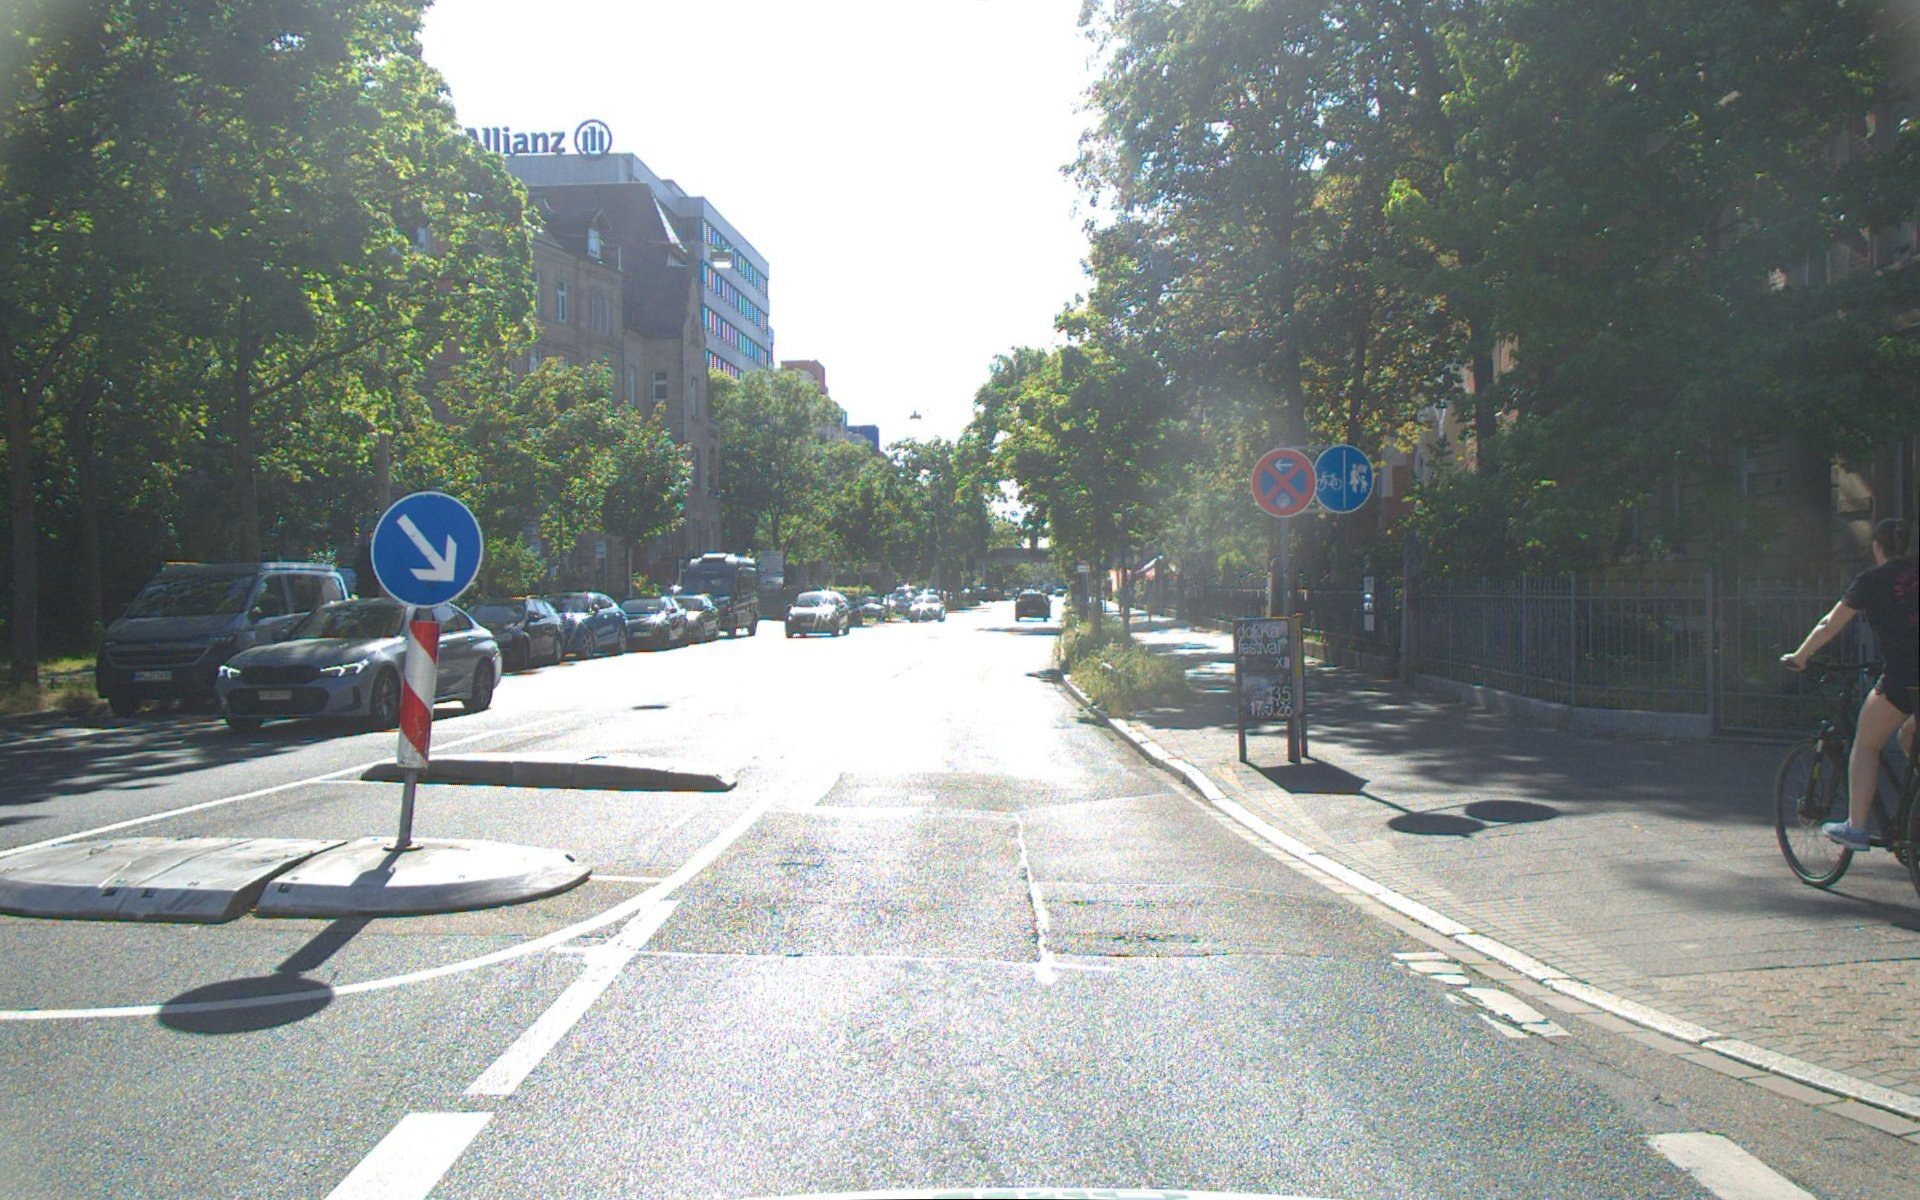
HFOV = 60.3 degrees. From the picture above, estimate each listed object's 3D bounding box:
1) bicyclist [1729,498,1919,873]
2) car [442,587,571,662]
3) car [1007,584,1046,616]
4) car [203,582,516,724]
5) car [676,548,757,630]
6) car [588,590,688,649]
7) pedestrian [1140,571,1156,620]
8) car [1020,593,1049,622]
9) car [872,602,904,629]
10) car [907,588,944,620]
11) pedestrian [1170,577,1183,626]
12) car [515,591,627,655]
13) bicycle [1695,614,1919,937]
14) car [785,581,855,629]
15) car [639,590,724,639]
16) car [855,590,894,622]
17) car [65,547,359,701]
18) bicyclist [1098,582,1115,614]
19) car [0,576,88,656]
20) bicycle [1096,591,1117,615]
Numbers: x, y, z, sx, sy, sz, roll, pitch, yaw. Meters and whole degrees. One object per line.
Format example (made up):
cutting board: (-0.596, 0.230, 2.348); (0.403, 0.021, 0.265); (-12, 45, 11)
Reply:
bicyclist: (4.191, 0.361, 7.655); (0.726, 1.607, 1.100); (1, 1, 0)
car: (-9.582, 0.553, 35.167); (1.491, 1.458, 3.338); (1, -3, 6)
car: (3.552, -0.019, 88.620); (1.856, 1.545, 4.000); (2, 1, 0)
car: (-6.999, 0.594, 19.821); (1.746, 1.486, 4.418); (1, -1, 6)
car: (-8.270, -0.380, 56.601); (1.788, 2.697, 5.163); (0, 0, 2)
car: (-8.797, 0.577, 45.510); (1.788, 1.445, 4.000); (1, -3, 2)
pedestrian: (7.872, -0.204, 69.303); (0.602, 2.049, 0.681); (0, 0, -1)
car: (4.731, 0.449, 104.411); (1.781, 1.771, 4.002); (0, 0, 3)
car: (-4.663, 1.010, 107.266); (1.895, 1.546, 4.029); (1, -3, 0)
car: (-1.846, 0.222, 89.955); (1.895, 1.546, 4.029); (1, -3, 0)
pedestrian: (9.197, 0.060, 70.372); (0.466, 2.049, 0.492); (1, -3, -1)
car: (-9.383, 0.532, 40.150); (1.491, 1.457, 3.556); (0, 0, 7)
bicycle: (4.172, 0.709, 7.551); (0.726, 1.240, 1.960); (-2, 0, 0)
car: (-4.635, 0.143, 55.111); (1.604, 1.545, 4.033); (0, 0, 6)
car: (-8.512, 0.410, 50.824); (1.788, 1.445, 4.001); (0, 0, 2)
car: (-4.313, 0.279, 83.714); (1.765, 1.530, 3.808); (0, 0, 0)
car: (-10.590, 0.353, 23.896); (2.154, 1.963, 4.860); (-1, -1, -2)
bicyclist: (6.256, -0.079, 70.777); (0.666, 1.351, 0.636); (1, -3, -1)
car: (-20.844, 0.331, 36.940); (1.947, 1.691, 3.974); (0, 0, -21)
bicycle: (6.241, 0.148, 70.709); (0.661, 0.954, 2.281); (0, -2, -1)
